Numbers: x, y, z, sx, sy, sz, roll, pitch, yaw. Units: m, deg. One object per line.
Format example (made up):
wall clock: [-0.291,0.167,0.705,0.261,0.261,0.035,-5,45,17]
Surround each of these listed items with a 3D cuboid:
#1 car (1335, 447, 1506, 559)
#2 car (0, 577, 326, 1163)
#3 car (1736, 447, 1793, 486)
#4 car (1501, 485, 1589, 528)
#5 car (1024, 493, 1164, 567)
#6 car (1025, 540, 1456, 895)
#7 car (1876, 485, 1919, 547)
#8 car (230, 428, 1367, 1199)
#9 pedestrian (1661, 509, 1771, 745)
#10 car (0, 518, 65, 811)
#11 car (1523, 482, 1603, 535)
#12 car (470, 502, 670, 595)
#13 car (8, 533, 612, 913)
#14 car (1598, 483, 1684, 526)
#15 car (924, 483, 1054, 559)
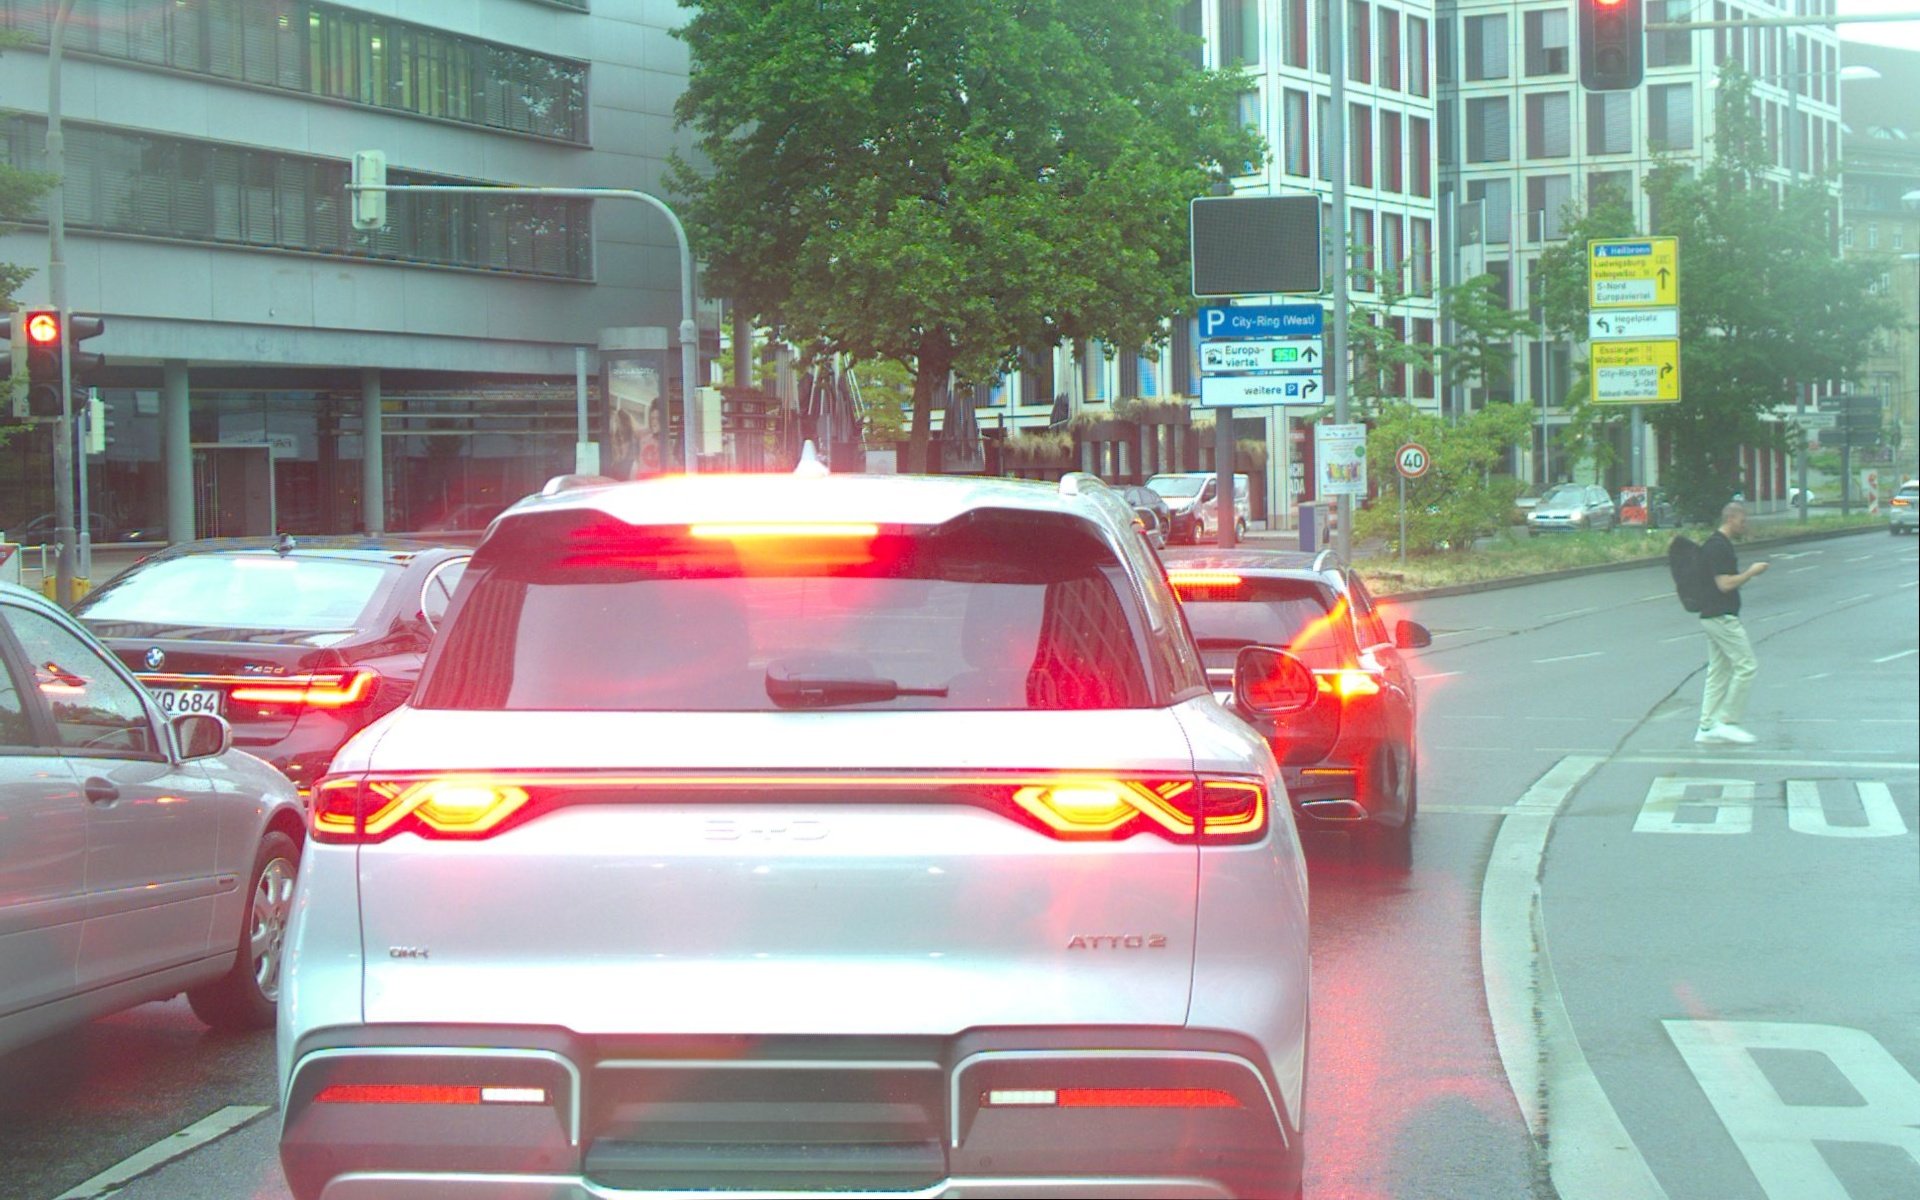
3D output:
car: [8.758,-1.803,65.095,1.996,2.007,4.843,1,1,23]
car: [-3.038,0.649,8.863,1.571,1.402,4.108,1,1,7]
car: [38.297,-6.338,163.546,1.609,1.735,3.439,1,1,32]
car: [20.941,-3.355,122.949,1.996,1.483,3.994,0,2,27]
car: [2.660,-1.348,67.409,1.692,1.380,3.865,1,1,19]
car: [1.469,0.480,16.625,1.694,1.481,3.998,1,1,10]
car: [25.974,-2.277,92.807,1.890,1.637,3.996,1,1,22]
car: [-0.208,0.557,7.399,1.776,1.673,4.000,1,1,2]
pedestrian: [5.608,0.188,25.472,0.770,1.725,0.596,0,1,14]
car: [-5.881,0.325,16.264,1.707,1.481,3.998,1,1,9]
car: [18.531,-2.805,105.575,1.645,1.575,4.081,1,1,21]
car: [-6.957,-0.945,61.753,1.995,1.605,3.996,1,1,20]
car: [-2.787,0.466,15.616,1.571,1.481,3.999,1,1,7]
car: [24.440,-3.424,123.252,1.996,1.483,3.994,0,2,27]
car: [0.631,-1.626,70.833,1.645,1.530,4.149,1,1,16]
